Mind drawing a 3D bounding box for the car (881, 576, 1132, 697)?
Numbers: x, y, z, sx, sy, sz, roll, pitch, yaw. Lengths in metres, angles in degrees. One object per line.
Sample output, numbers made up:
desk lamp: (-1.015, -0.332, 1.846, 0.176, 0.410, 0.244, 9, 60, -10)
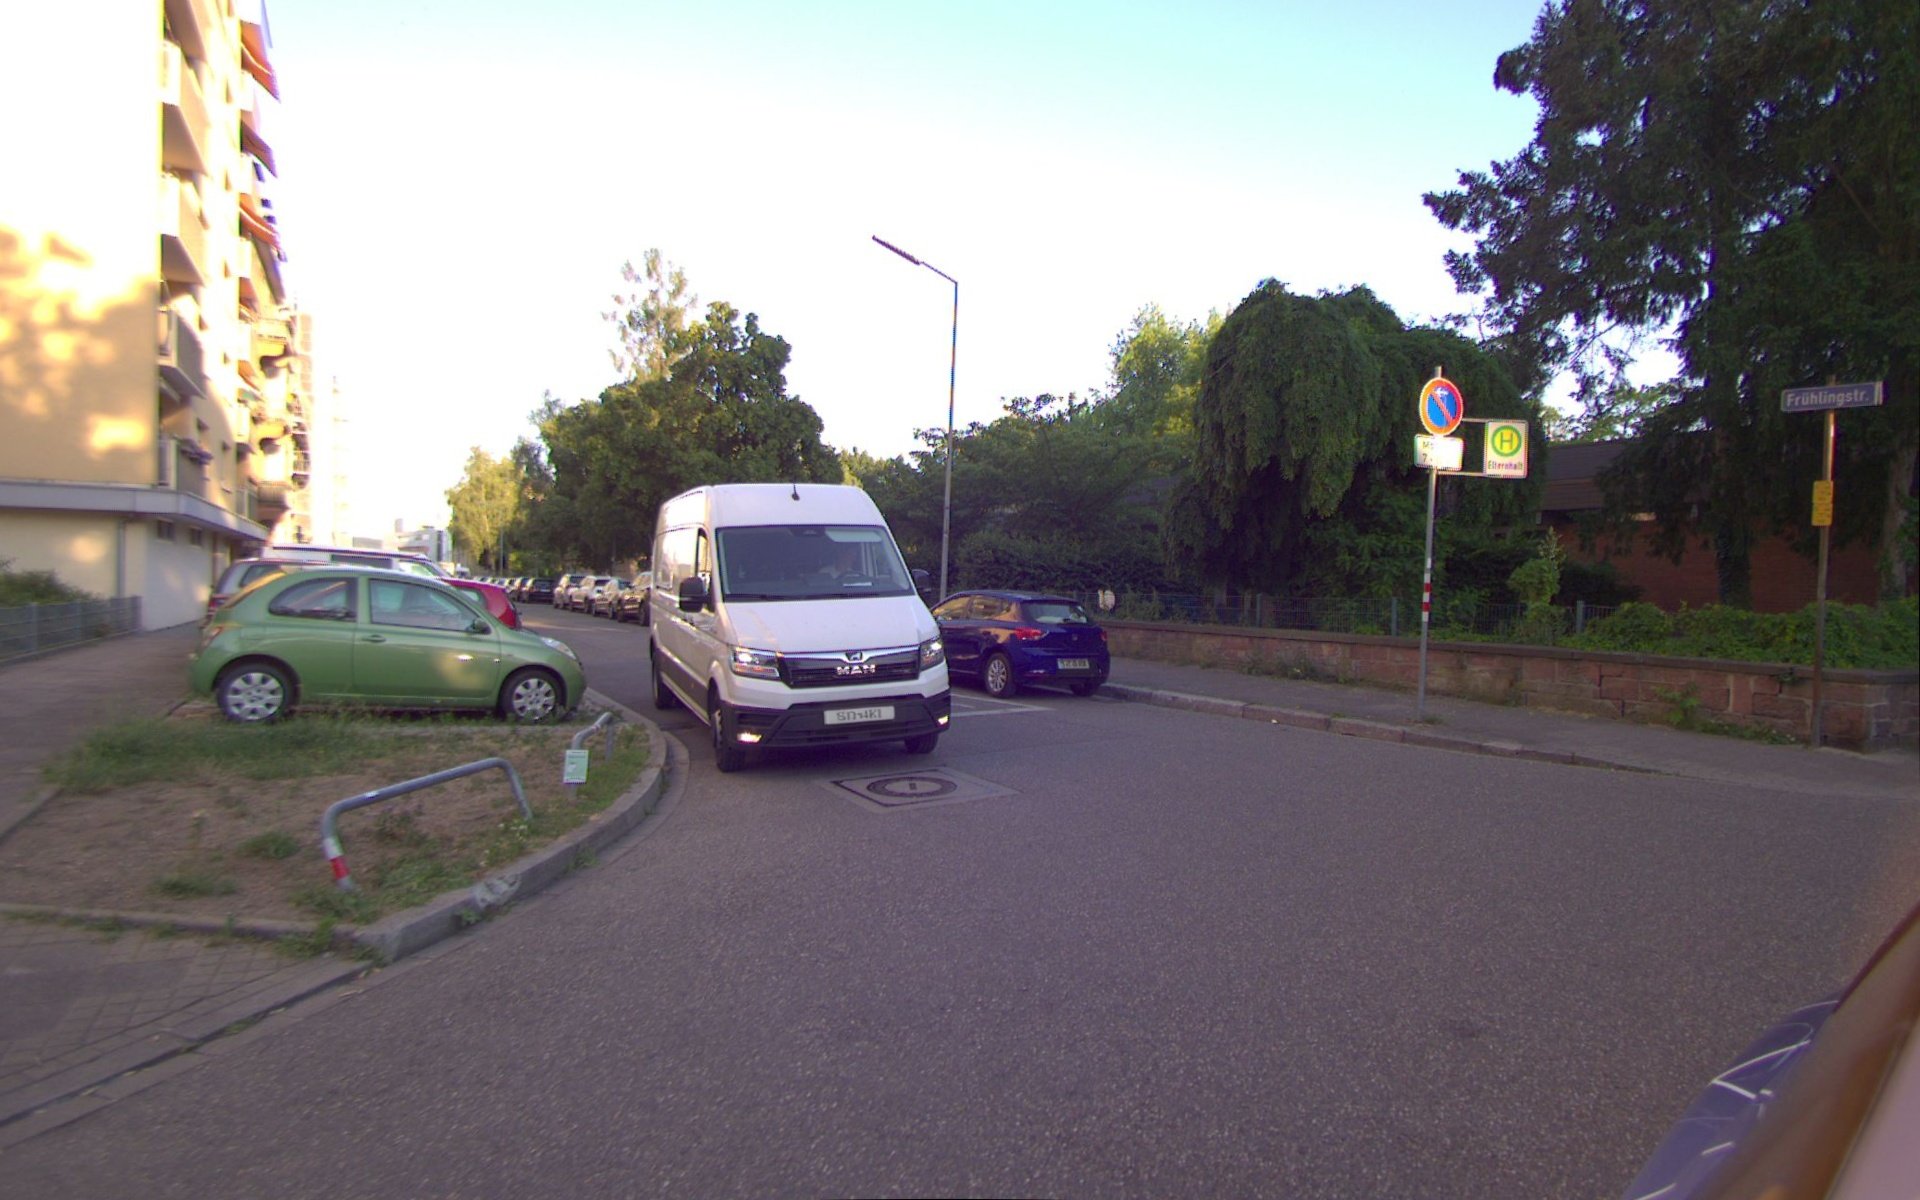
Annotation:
car: (0.548, 0.435, 14.796, 1.691, 1.503, 3.790, 1, 1, -35)

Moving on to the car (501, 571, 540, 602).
car: (-23.906, -0.746, 55.021, 1.504, 1.605, 2.956, 1, 1, -32)

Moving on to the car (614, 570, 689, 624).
car: (-9.708, -0.123, 31.753, 1.504, 1.605, 2.956, 1, 1, -32)

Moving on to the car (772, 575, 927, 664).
car: (-2.177, 0.300, 19.185, 1.504, 1.503, 3.513, 1, 1, -32)

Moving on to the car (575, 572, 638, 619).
car: (-12.826, -0.193, 36.689, 1.504, 1.605, 2.956, 1, 1, -32)

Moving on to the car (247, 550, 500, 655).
car: (-11.236, 0.051, 19.505, 4.033, 1.836, 1.829, 1, 1, -35)

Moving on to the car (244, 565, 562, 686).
car: (-8.218, 0.340, 15.080, 3.923, 1.571, 1.829, 1, 1, -35)

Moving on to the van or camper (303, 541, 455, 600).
van or camper: (-27.021, -1.336, 47.263, 5.982, 2.521, 2.199, 1, 1, -31)

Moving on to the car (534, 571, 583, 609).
car: (-17.983, -0.451, 45.272, 1.504, 1.605, 2.956, 1, 1, -32)

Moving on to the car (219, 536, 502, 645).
car: (-12.688, -0.171, 21.758, 4.975, 2.112, 2.003, 1, 1, -30)

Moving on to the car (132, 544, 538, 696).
car: (-7.435, 0.209, 12.329, 3.923, 1.571, 1.829, 1, 1, -35)

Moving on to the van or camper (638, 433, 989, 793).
van or camper: (-2.061, -0.018, 10.937, 2.052, 2.622, 6.885, -2, 2, -22)

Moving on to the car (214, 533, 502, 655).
car: (-10.085, -0.091, 17.122, 3.976, 1.836, 1.829, 1, 1, -35)

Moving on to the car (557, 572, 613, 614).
car: (-15.062, -0.307, 40.599, 1.504, 1.605, 2.956, 1, 1, -32)

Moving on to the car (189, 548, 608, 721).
car: (-5.697, 0.383, 10.556, 3.500, 1.532, 1.628, 3, -1, -32)
